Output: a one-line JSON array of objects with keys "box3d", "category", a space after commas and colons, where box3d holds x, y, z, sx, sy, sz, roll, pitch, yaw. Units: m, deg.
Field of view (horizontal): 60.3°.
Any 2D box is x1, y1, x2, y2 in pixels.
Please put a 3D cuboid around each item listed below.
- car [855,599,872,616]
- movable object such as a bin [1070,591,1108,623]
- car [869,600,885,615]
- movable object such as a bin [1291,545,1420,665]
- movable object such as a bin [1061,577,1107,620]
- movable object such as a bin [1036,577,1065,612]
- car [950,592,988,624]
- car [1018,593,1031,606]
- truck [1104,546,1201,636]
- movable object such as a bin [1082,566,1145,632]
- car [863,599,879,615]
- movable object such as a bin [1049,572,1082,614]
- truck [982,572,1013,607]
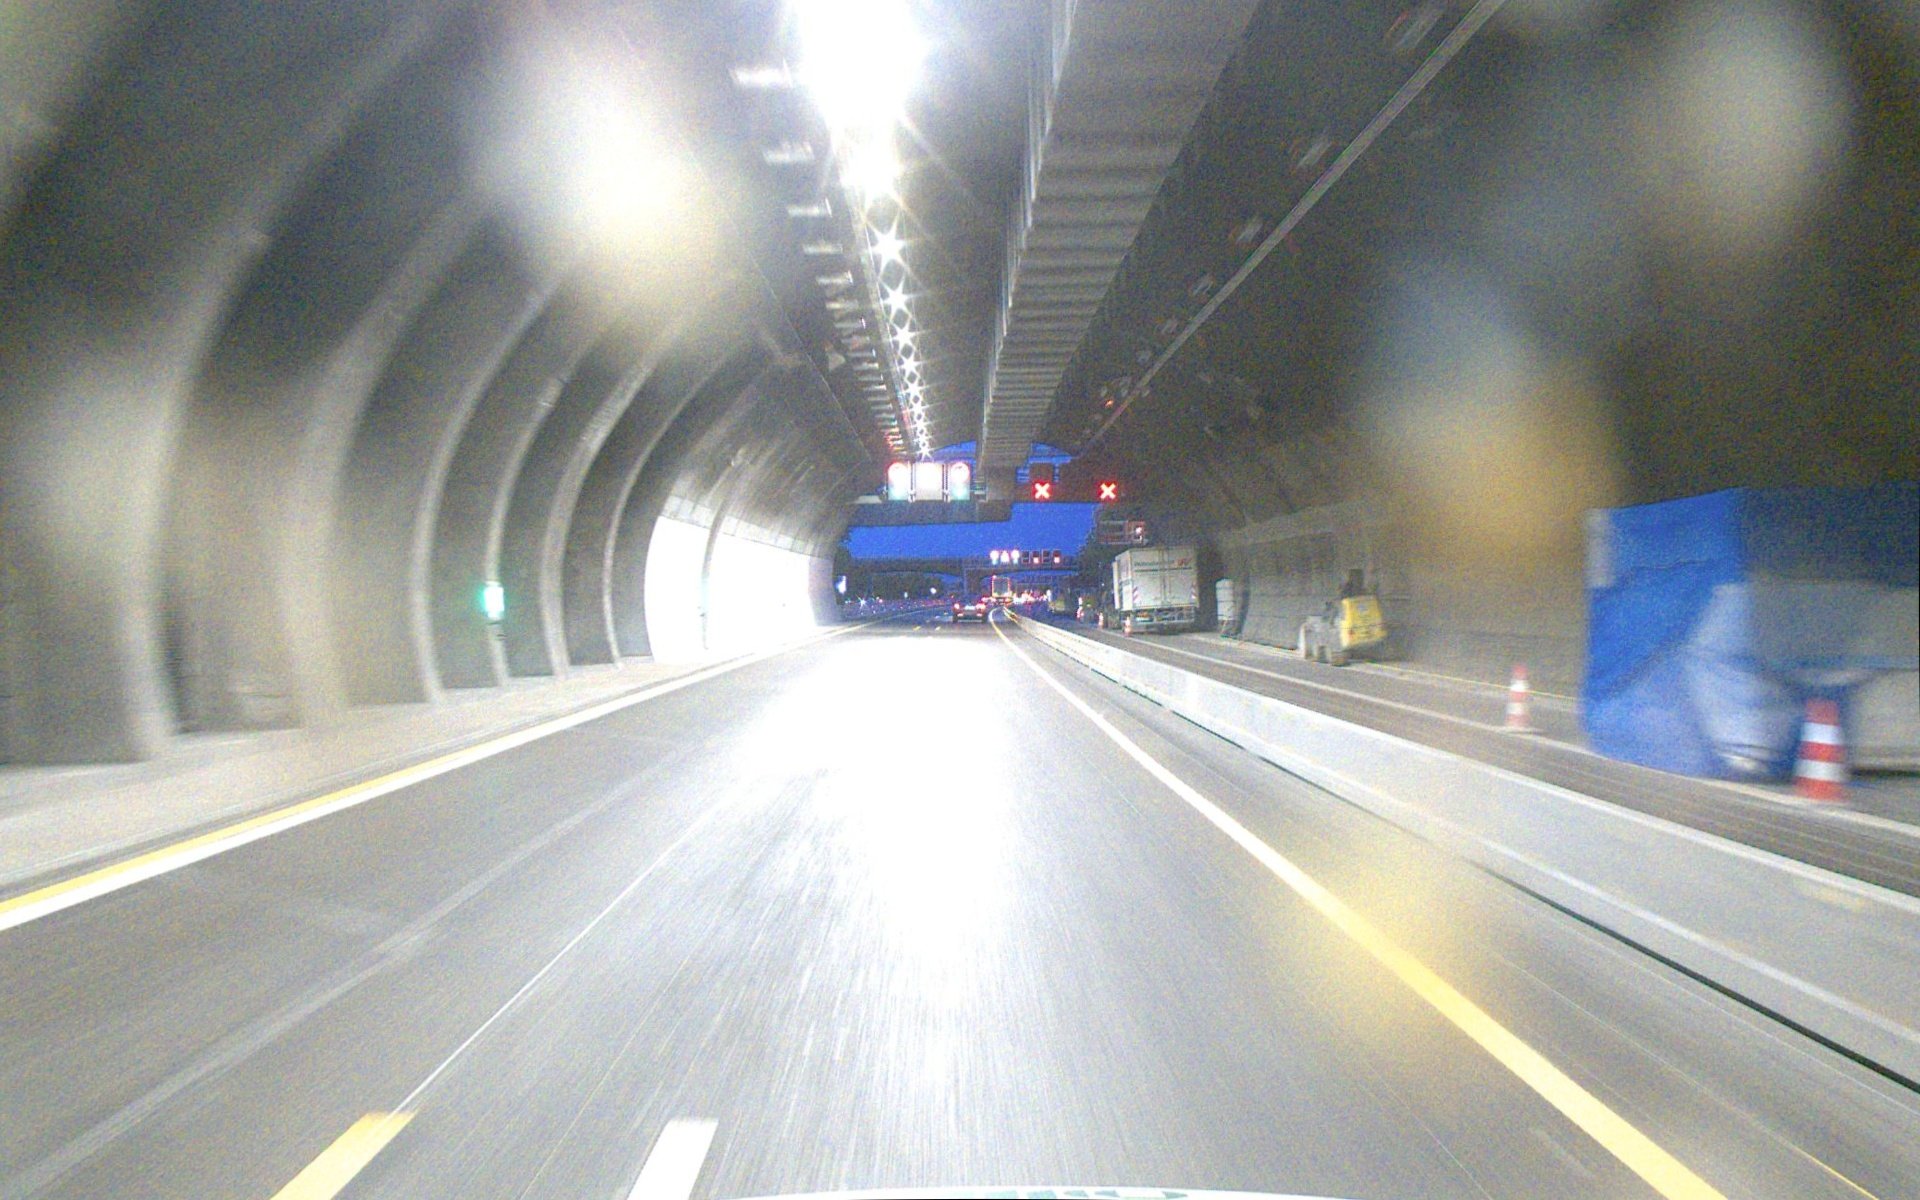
[{"box3d": [-12.029, 0.929, 206.294, 1.953, 2.049, 4.000, 0, 0, 0], "category": "car"}, {"box3d": [7.717, 0.431, 99.029, 1.938, 1.847, 3.836, 0, 0, 0], "category": "movable object such as a bin"}, {"box3d": [-11.234, 0.991, 223.319, 1.953, 2.049, 4.000, 0, 0, 0], "category": "car"}, {"box3d": [8.708, 0.109, 36.750, 1.721, 2.421, 3.999, -3, 0, -1], "category": "movable object such as a bin"}, {"box3d": [8.309, -0.093, 111.735, 2.681, 2.802, 7.050, 0, 0, 1], "category": "movable object such as a bin"}, {"box3d": [9.290, -0.513, 170.296, 2.681, 3.516, 6.947, 0, 0, 1], "category": "movable object such as a bin"}, {"box3d": [0.451, 0.407, 87.826, 1.850, 1.635, 3.998, 0, 0, -2], "category": "car"}, {"box3d": [10.157, -0.028, 259.276, 1.952, 2.049, 4.000, 0, 0, 1], "category": "car"}, {"box3d": [7.552, -0.314, 65.825, 2.833, 3.329, 8.400, 0, 0, 0], "category": "truck"}, {"box3d": [6.913, -0.026, 75.339, 2.192, 2.843, 7.232, 0, 0, 0], "category": "movable object such as a bin"}, {"box3d": [-11.635, 0.965, 216.391, 1.953, 2.049, 4.000, 0, 0, 0], "category": "car"}, {"box3d": [9.599, -0.635, 151.135, 2.681, 3.743, 6.334, 0, 0, 1], "category": "movable object such as a bin"}, {"box3d": [5.505, -1.560, 245.370, 4.452, 5.074, 9.599, 0, 0, 1], "category": "truck"}]
